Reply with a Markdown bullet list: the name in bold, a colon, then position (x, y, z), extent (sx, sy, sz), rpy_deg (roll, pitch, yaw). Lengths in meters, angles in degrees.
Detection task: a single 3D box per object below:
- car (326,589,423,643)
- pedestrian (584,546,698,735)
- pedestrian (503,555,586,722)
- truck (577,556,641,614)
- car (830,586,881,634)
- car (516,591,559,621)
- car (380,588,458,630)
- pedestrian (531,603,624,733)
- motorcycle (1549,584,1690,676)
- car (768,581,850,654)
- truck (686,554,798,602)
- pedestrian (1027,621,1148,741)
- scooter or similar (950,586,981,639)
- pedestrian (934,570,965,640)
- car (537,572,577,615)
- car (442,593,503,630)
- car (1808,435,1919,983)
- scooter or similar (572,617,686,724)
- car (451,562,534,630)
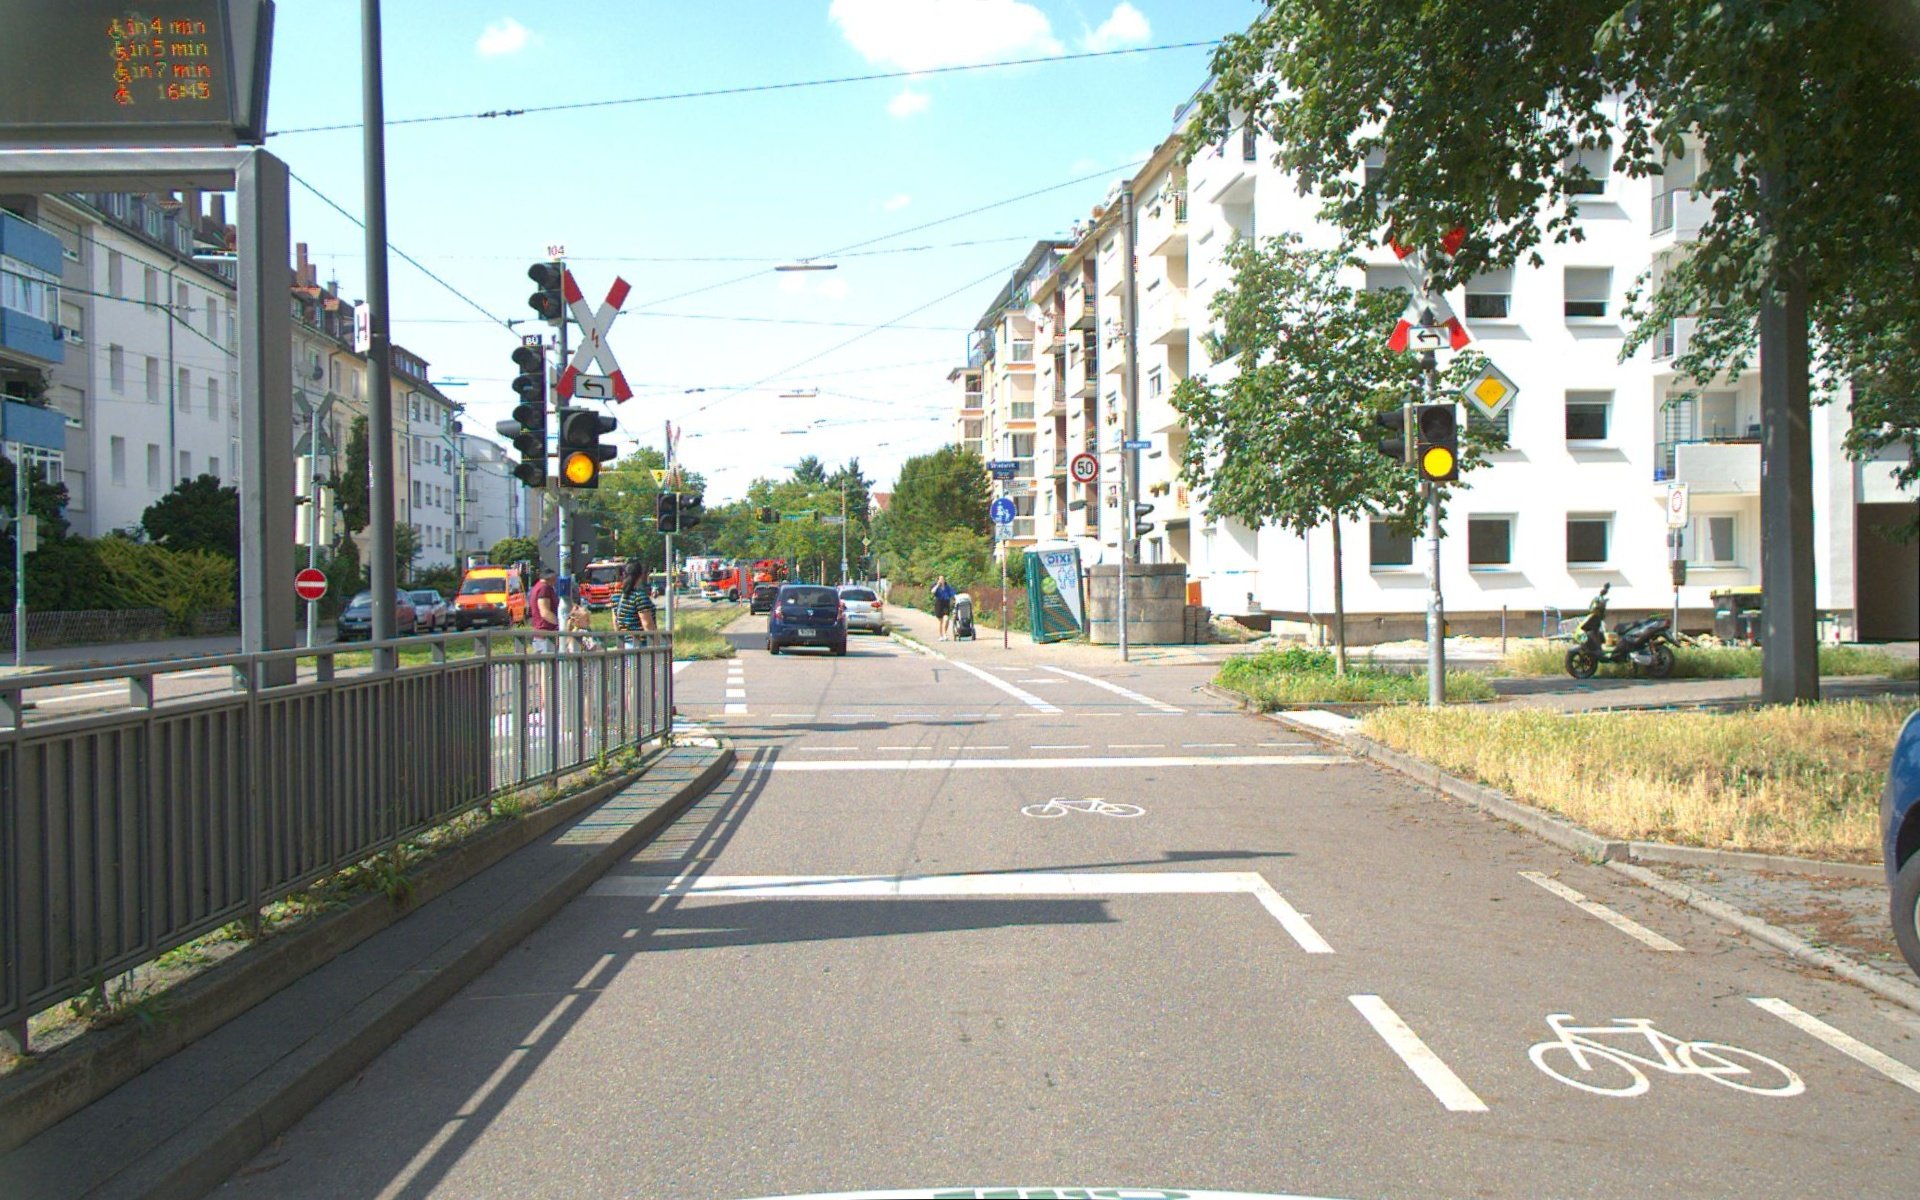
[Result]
- **car**: position (-19.002, 0.500, 53.865), extent (1.954, 1.674, 3.997), rpy_deg (1, 0, -4)
- **pedestrian**: position (-2.987, 0.362, 15.450), extent (0.835, 1.697, 0.791), rpy_deg (-1, 0, -28)
- **pedestrian**: position (-4.276, 0.391, 17.071), extent (0.691, 1.677, 0.636), rpy_deg (1, 0, -4)
- **truck**: position (-20.749, -0.850, 98.234), extent (2.545, 3.241, 8.375), rpy_deg (-1, 0, -4)
- **car**: position (-3.455, 0.312, 54.302), extent (1.590, 1.490, 3.507), rpy_deg (1, 0, -5)
- **car**: position (-23.118, 0.316, 90.560), extent (1.742, 1.584, 3.994), rpy_deg (1, 0, -7)
- **car**: position (-19.545, 0.316, 59.859), extent (1.733, 1.467, 3.997), rpy_deg (1, 0, -4)
- **pedestrian**: position (-3.685, 0.637, 15.932), extent (0.631, 1.201, 0.790), rpy_deg (-1, 0, -33)
- **motorcycle**: position (9.552, 0.436, 24.017), extent (0.565, 1.236, 1.825), rpy_deg (-6, 2, -34)
- **car**: position (-3.340, 0.364, 37.205), extent (1.709, 1.533, 3.997), rpy_deg (1, 0, -4)
- **truck**: position (-16.975, -1.687, 129.780), extent (2.621, 3.531, 10.133), rpy_deg (1, 0, 35)
- **pedestrian**: position (2.337, 1.461, 31.255), extent (1.953, 2.049, 4.000), rpy_deg (1, 0, 0)
- **scooter or similar**: position (0.143, 0.320, 43.325), extent (0.649, 1.326, 0.868), rpy_deg (-4, 1, -4)
- **pedestrian**: position (-0.285, 0.122, 44.231), extent (0.687, 1.820, 1.029), rpy_deg (-4, 1, -3)
- **car**: position (-23.846, -0.392, 97.927), extent (1.742, 2.441, 4.687), rpy_deg (1, 0, -7)
- **car**: position (-20.534, 0.472, 69.787), extent (1.734, 1.467, 3.995), rpy_deg (1, 0, -6)
- **car**: position (4.220, 0.384, 4.420), extent (1.785, 1.929, 4.185), rpy_deg (-2, 1, 1)
- **scooter or similar**: position (-3.418, 0.718, 17.134), extent (1.079, 1.074, 0.650), rpy_deg (1, 0, -6)
- **car**: position (-16.608, -0.167, 58.942), extent (1.955, 2.315, 4.829), rpy_deg (0, 0, -5)
